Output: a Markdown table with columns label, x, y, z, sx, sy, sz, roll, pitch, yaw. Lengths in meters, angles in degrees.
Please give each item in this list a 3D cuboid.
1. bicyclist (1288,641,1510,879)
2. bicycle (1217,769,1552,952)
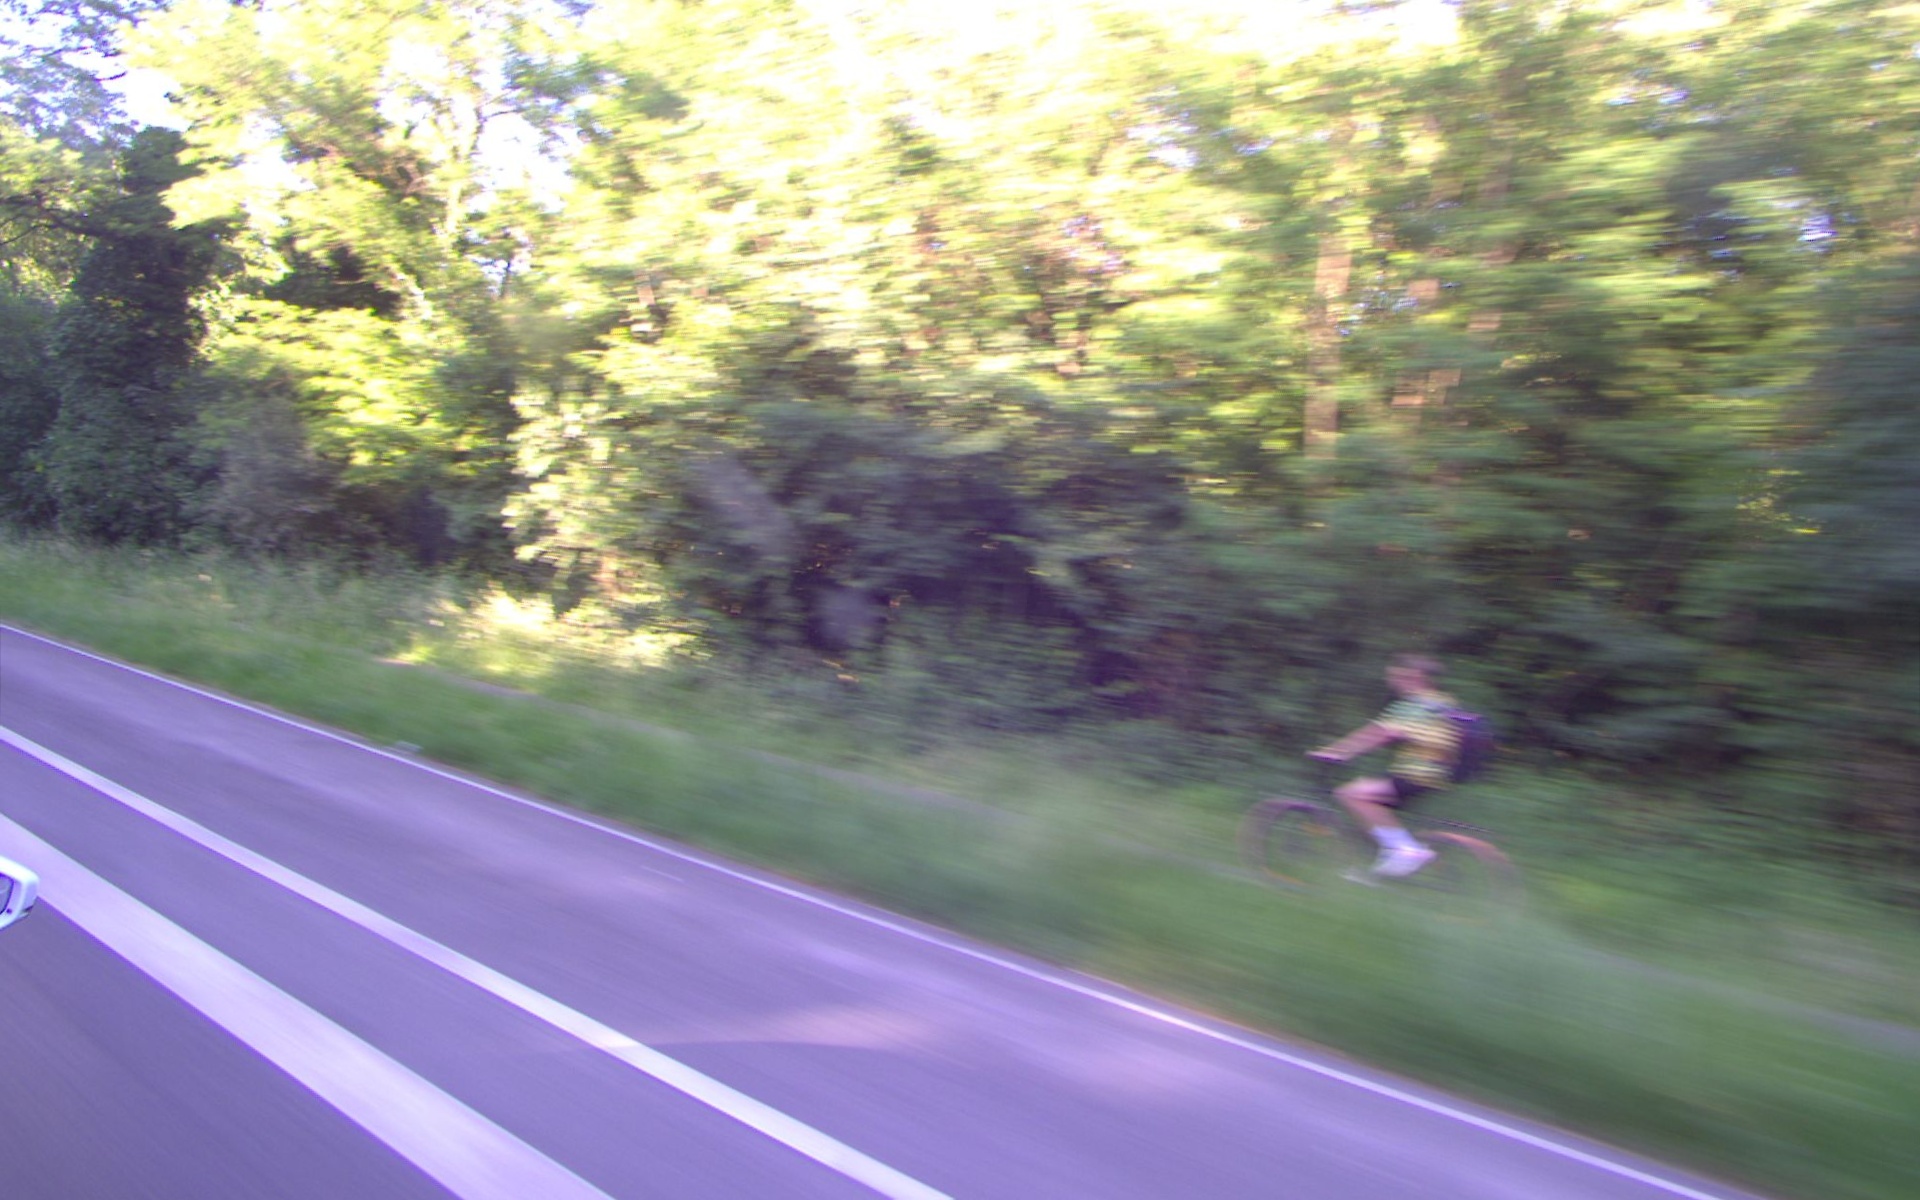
| label | x | y | z | sx | sy | sz | roll | pitch | yaw |
| --- | --- | --- | --- | --- | --- | --- | --- | --- | --- |
| bicyclist | 2.954 | 1.028 | 6.781 | 1.156 | 1.340 | 0.611 | 7 | 0 | 32 |
| bicycle | 2.835 | 1.697 | 6.823 | 1.963 | 0.701 | 0.592 | 7 | 0 | 32 |
